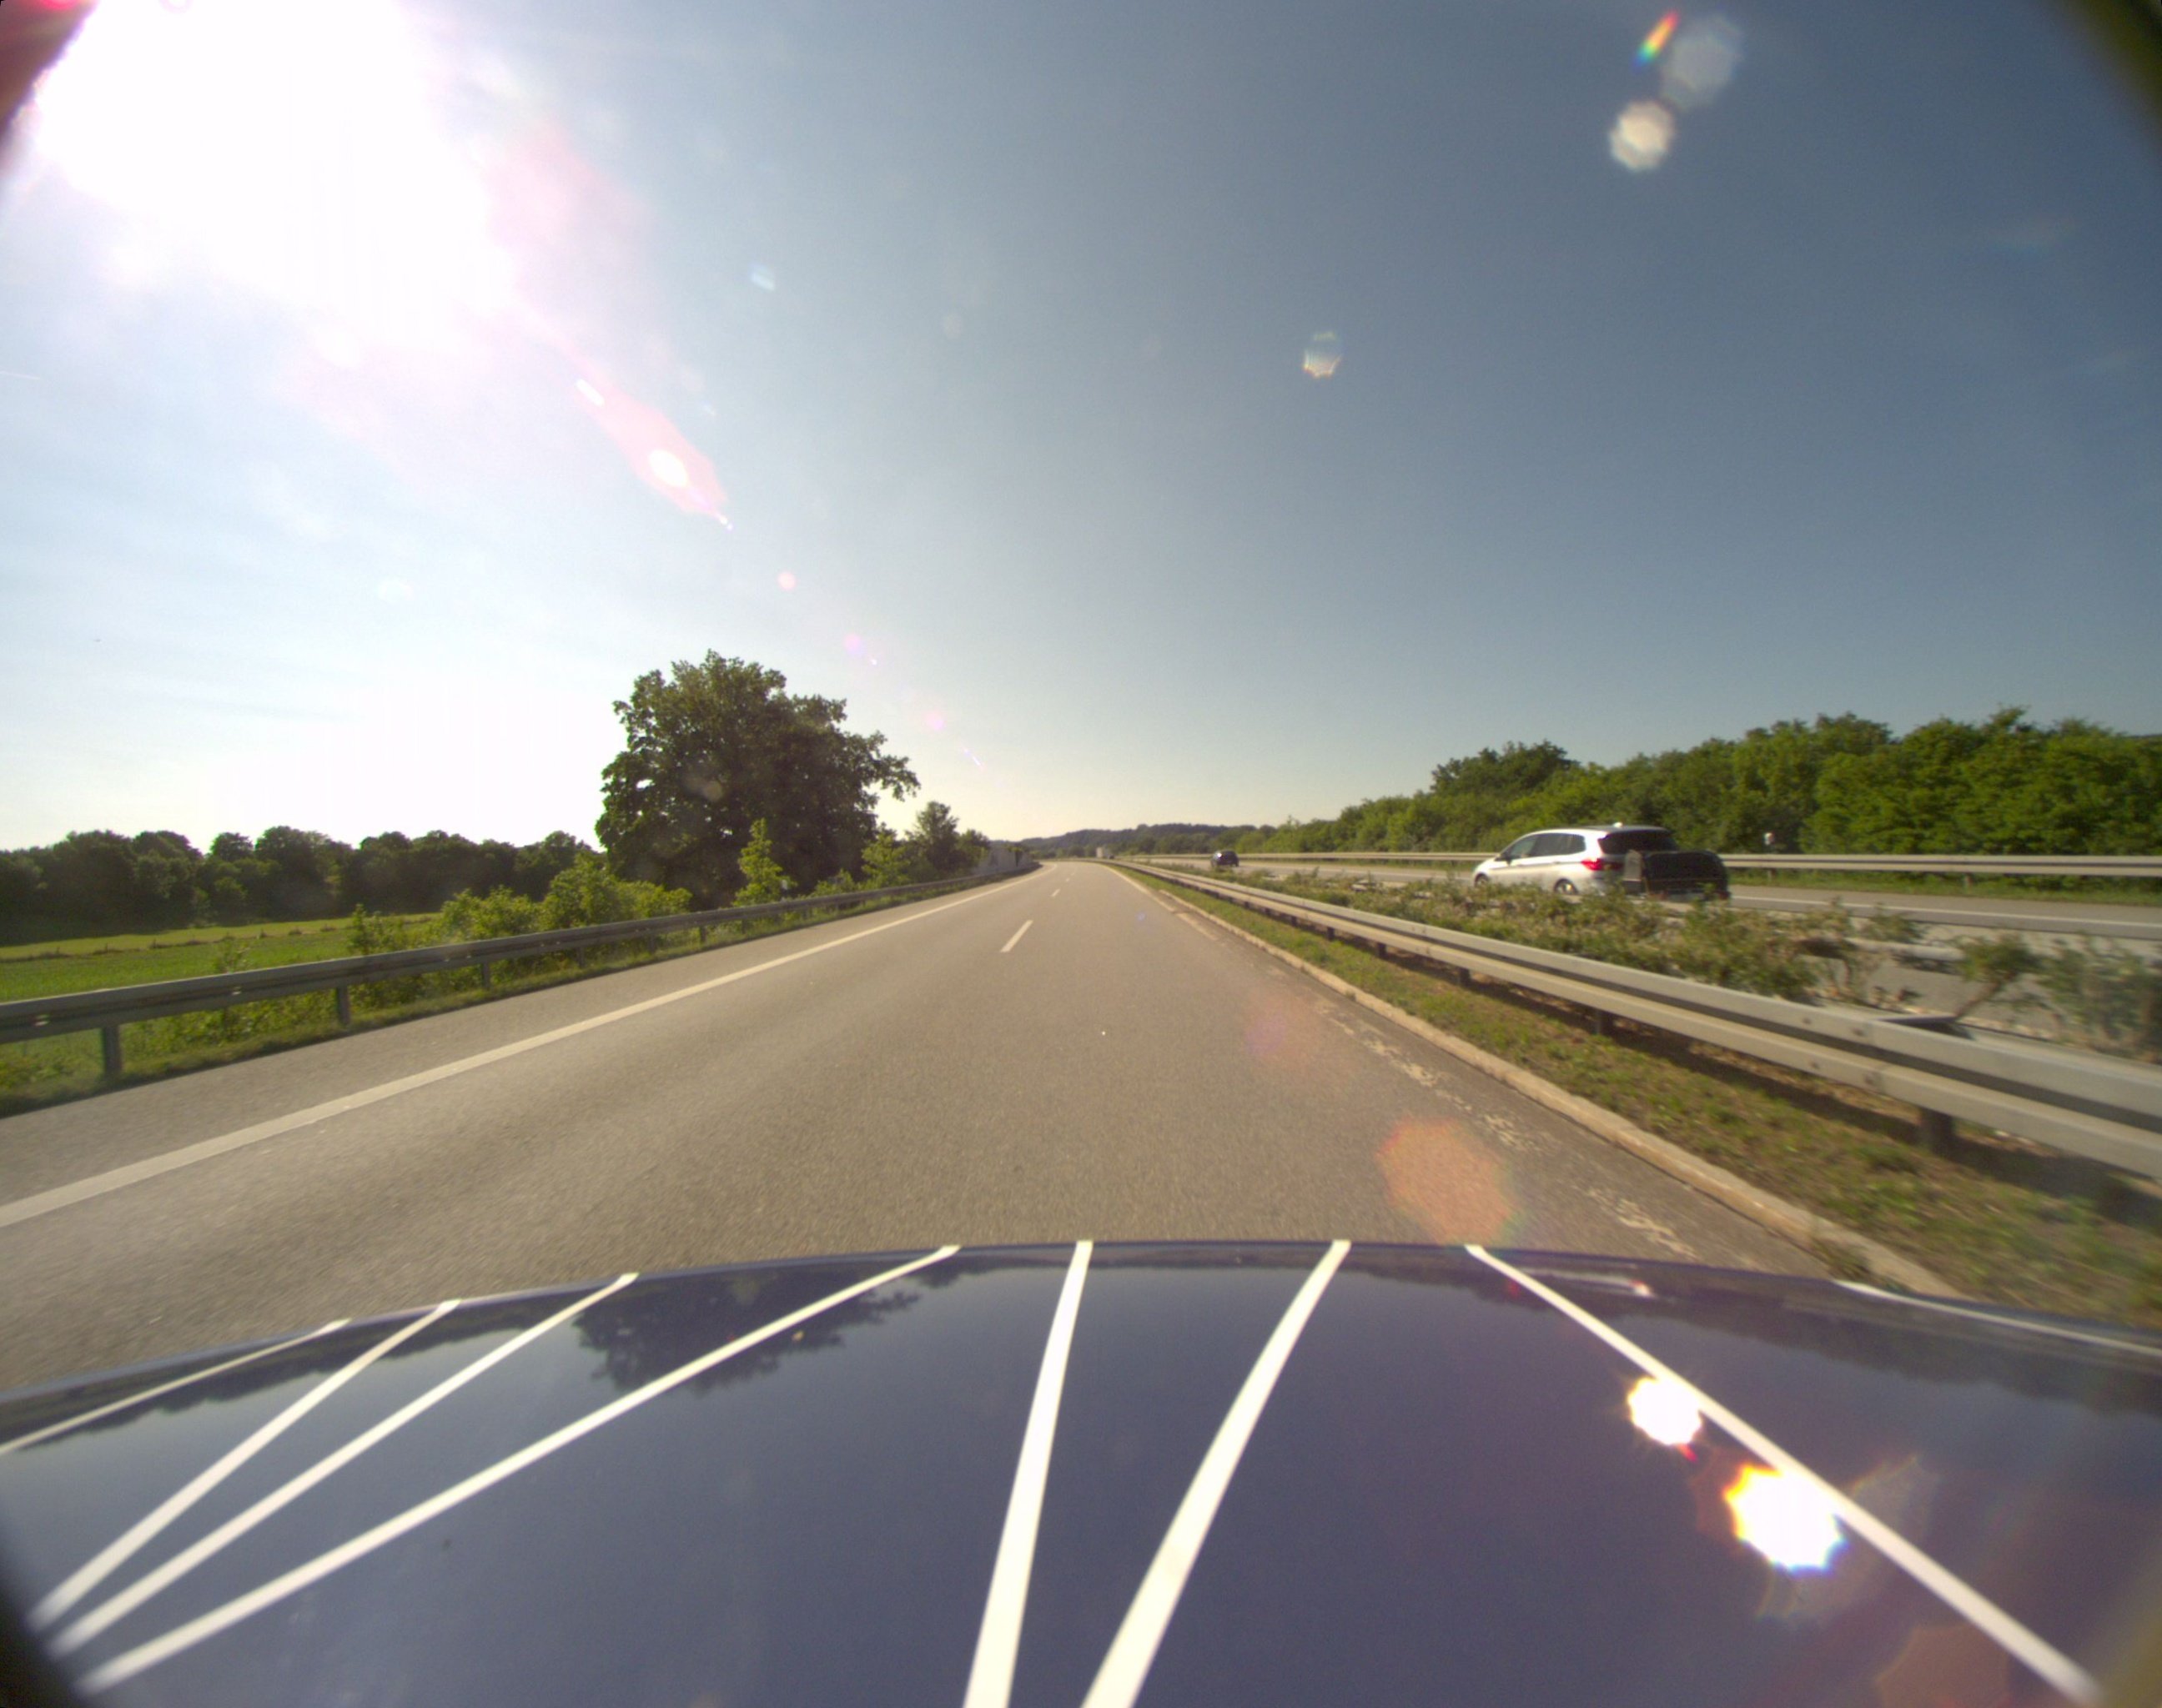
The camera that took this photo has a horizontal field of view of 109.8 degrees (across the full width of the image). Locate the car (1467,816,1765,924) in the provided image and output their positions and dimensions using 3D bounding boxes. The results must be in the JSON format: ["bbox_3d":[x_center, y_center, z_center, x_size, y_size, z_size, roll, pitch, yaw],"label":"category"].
[{"bbox_3d":[9.401,0.251,14.018,1.915,1.579,4.916,-2,0,-1],"label":"car"}]

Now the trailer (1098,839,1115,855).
[{"bbox_3d":[7.895,-2.062,238.924,3.104,4.428,13.741,-5,0,-6],"label":"trailer"}]

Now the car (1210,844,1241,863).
[{"bbox_3d":[12.024,-0.038,63.577,1.743,1.436,4.768,-3,0,2],"label":"car"}]

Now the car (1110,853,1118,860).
[{"bbox_3d":[8.750,0.629,201.368,1.964,1.591,4.867,-4,0,-1],"label":"car"}]
